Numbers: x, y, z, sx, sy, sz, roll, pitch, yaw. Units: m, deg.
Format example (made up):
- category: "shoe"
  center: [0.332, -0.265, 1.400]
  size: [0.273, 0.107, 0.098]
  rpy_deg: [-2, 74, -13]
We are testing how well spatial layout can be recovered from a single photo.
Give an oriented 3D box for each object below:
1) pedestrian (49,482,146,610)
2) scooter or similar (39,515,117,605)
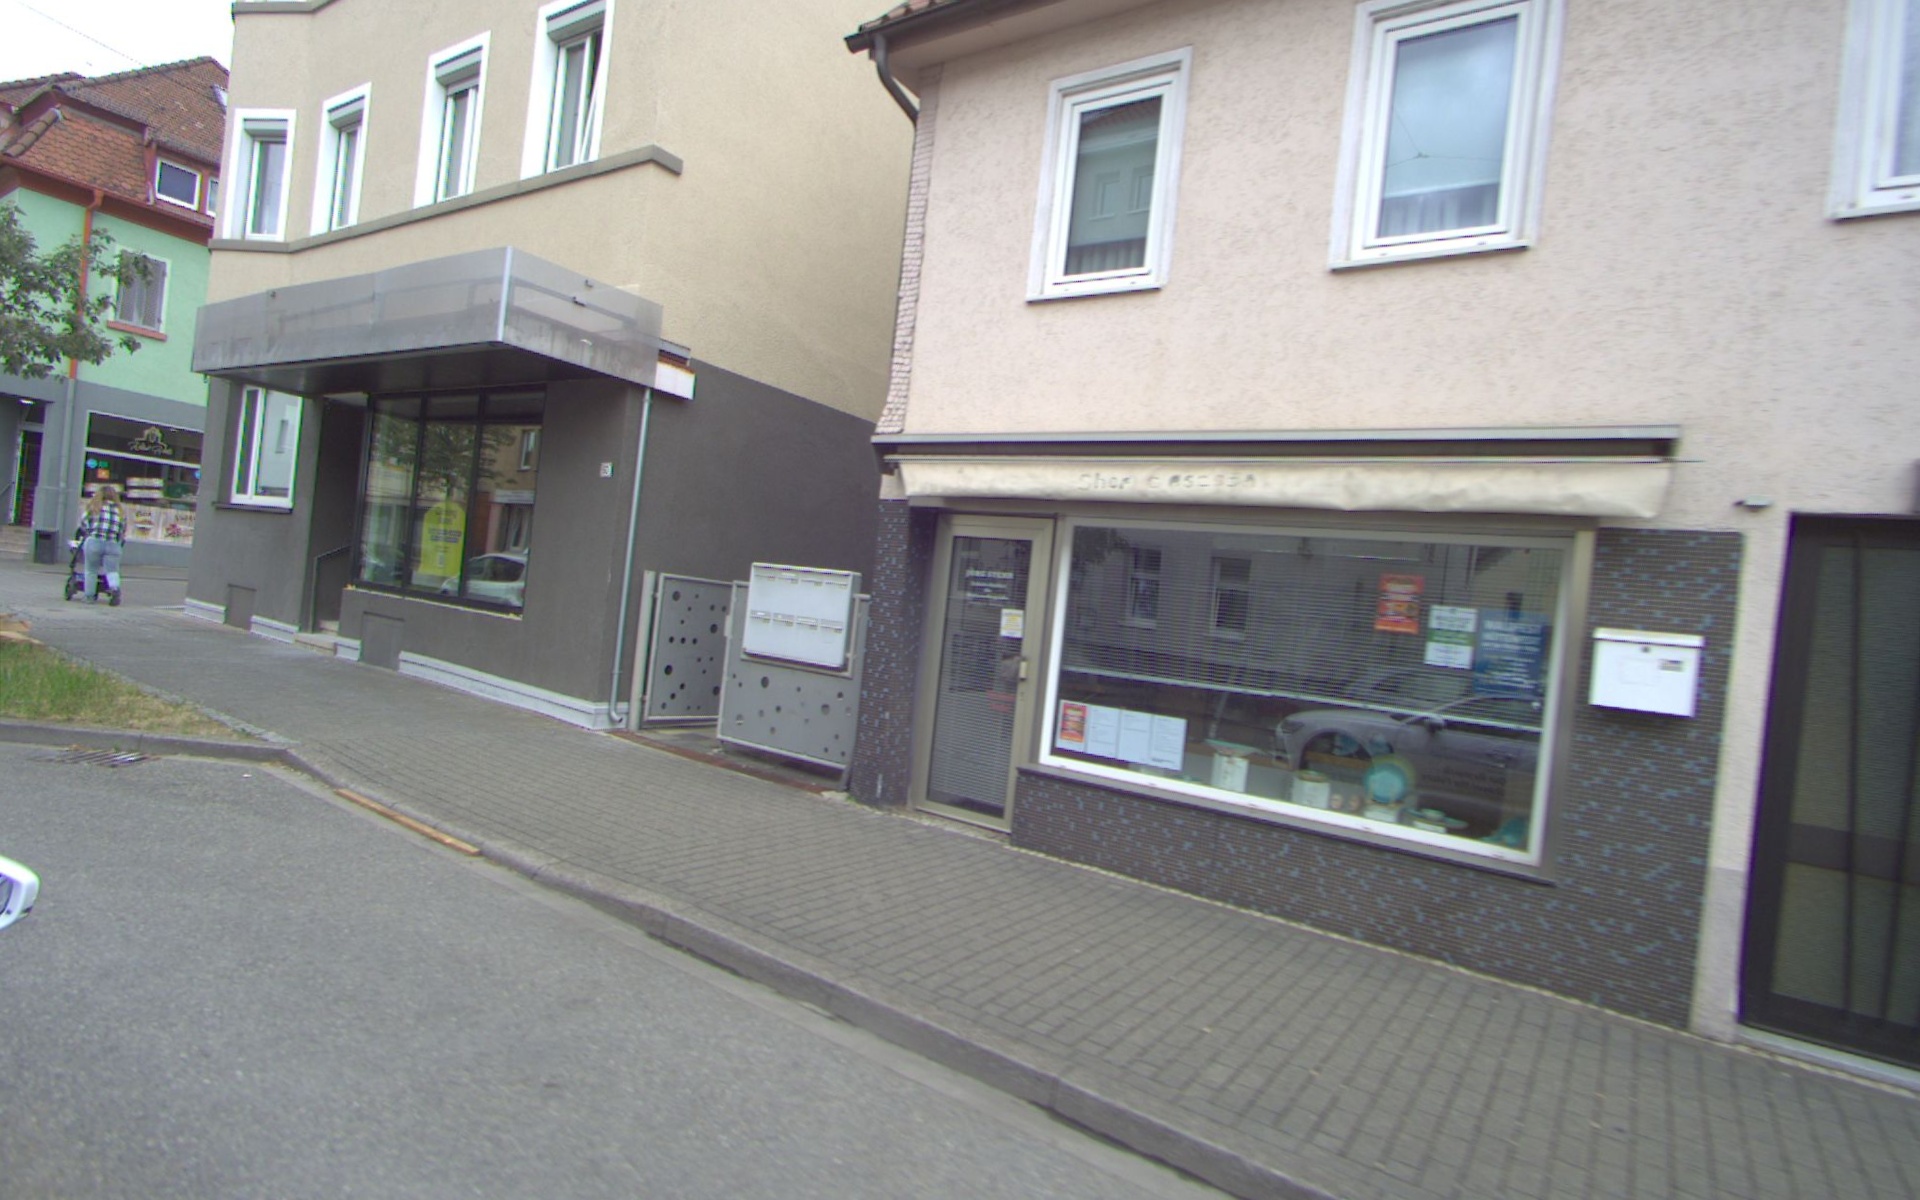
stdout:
- category: "pedestrian"
  center: [-12.718, -0.793, 14.837]
  size: [0.886, 1.740, 0.751]
  rpy_deg: [7, -1, 35]
- category: "scooter or similar"
  center: [-13.485, -0.612, 15.377]
  size: [0.877, 1.247, 0.590]
  rpy_deg: [7, -1, 34]
